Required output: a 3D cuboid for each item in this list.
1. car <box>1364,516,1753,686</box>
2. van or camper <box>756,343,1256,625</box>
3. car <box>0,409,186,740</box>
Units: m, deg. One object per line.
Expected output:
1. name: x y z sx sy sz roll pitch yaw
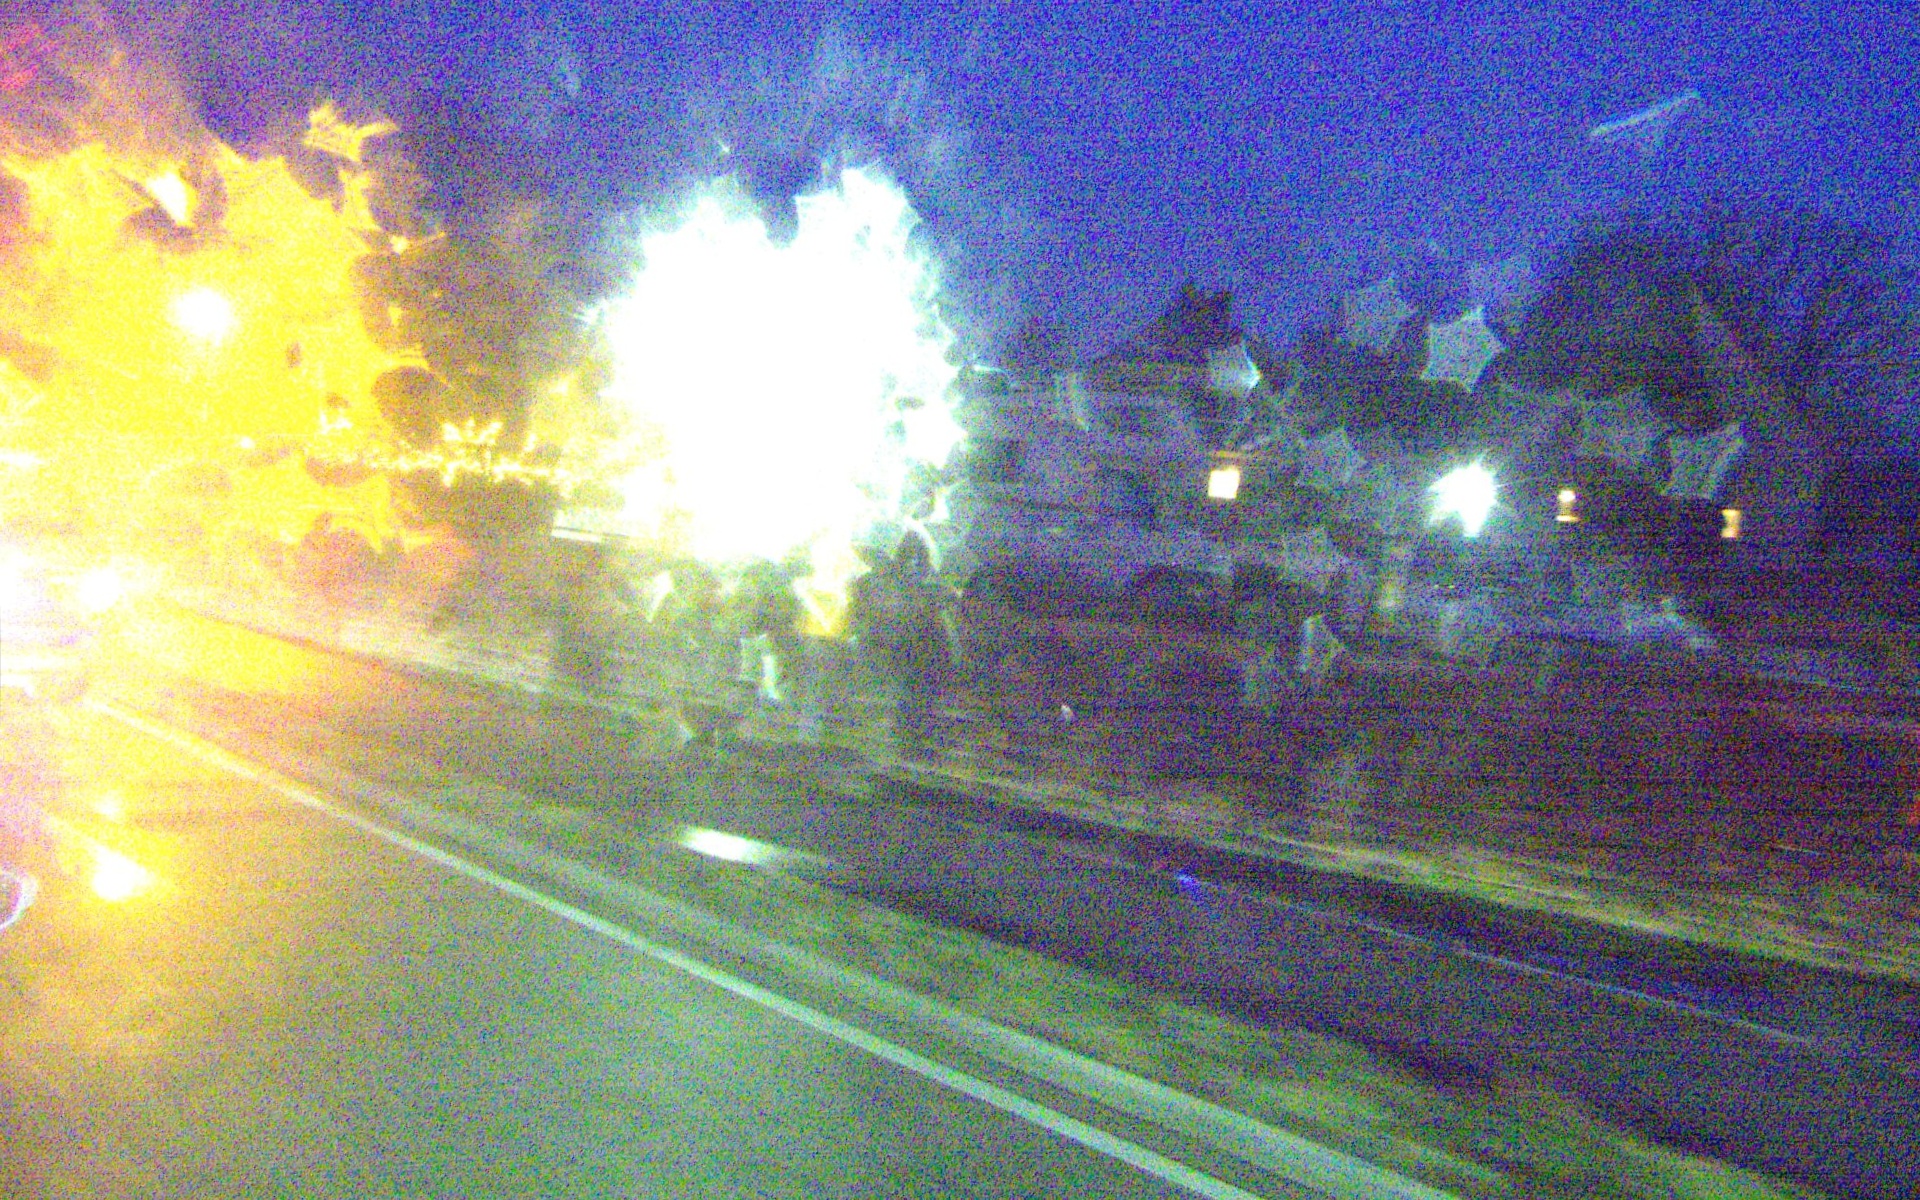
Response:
1. car: 7.807 0.020 13.553 4.056 1.636 1.643 8 -1 15
2. van or camper: 0.711 -1.569 14.248 6.238 2.943 2.591 8 -1 14
3. car: -7.620 -0.376 7.122 4.149 1.995 1.946 7 -1 33
